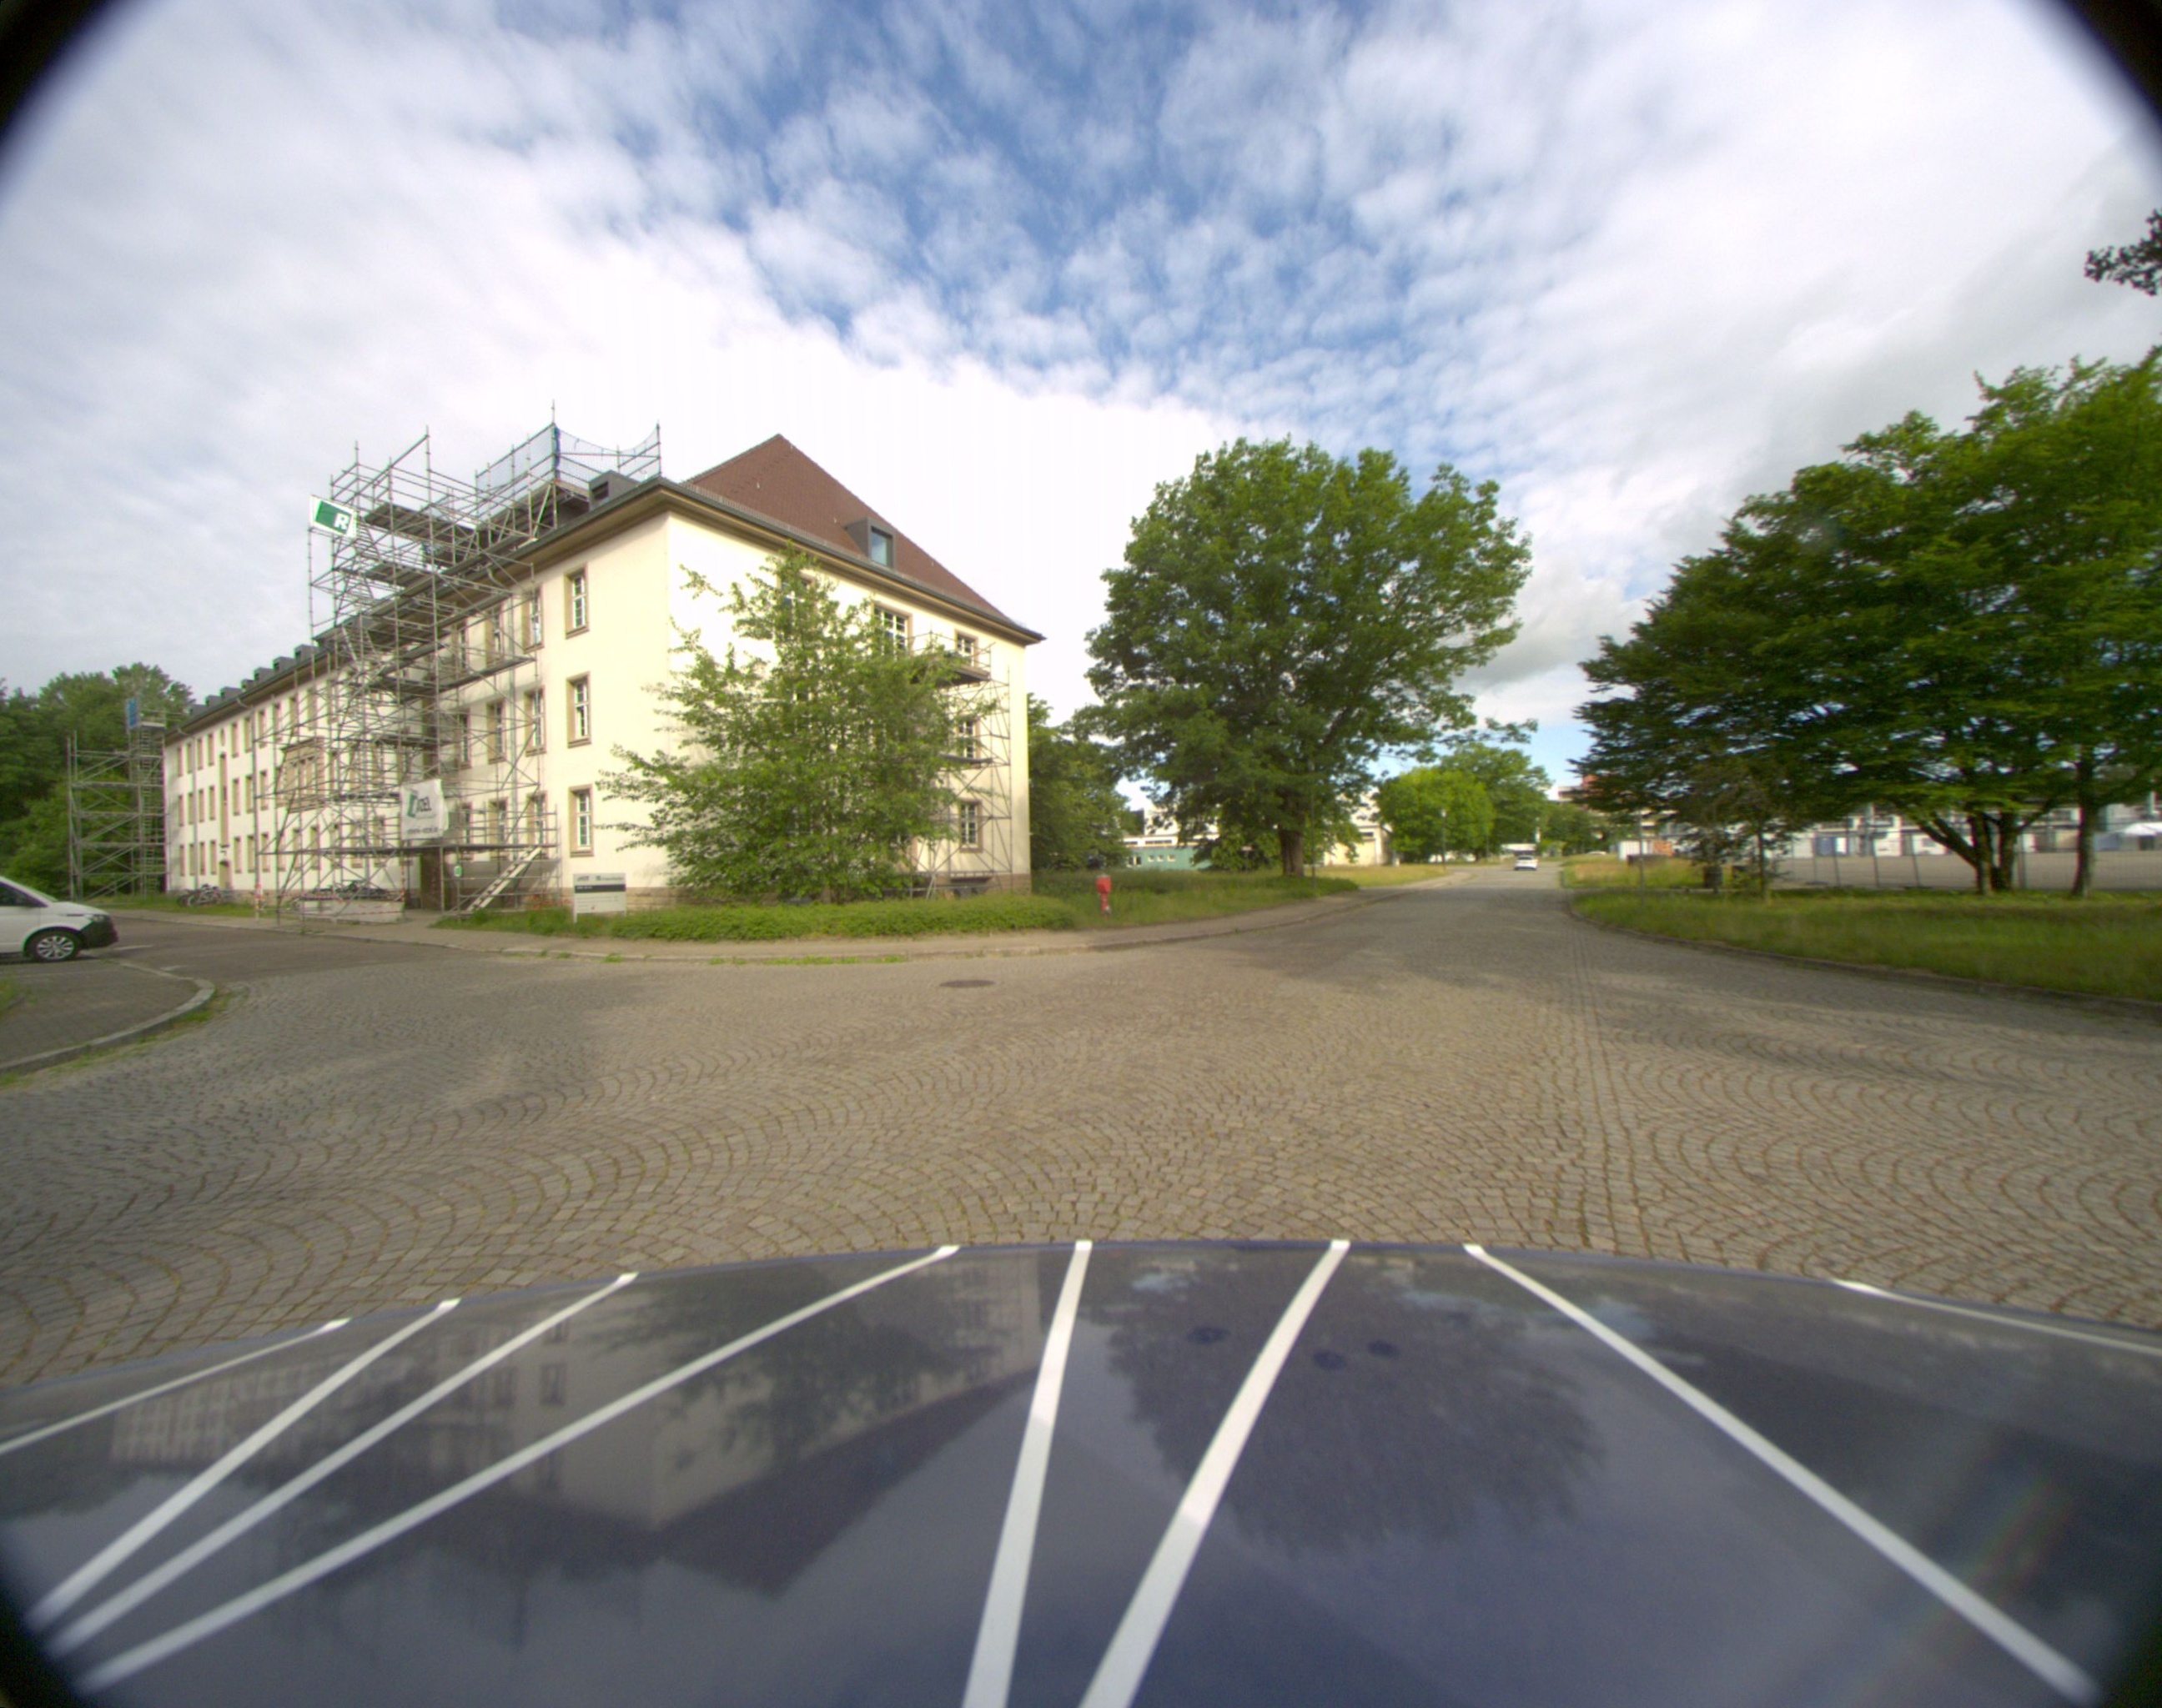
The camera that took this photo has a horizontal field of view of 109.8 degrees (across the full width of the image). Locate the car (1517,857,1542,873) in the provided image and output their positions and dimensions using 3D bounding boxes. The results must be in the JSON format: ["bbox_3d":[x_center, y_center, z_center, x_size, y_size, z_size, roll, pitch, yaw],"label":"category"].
[{"bbox_3d":[42.477,1.007,71.885,1.850,1.428,4.715,-2,-1,32],"label":"car"}]

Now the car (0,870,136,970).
[{"bbox_3d":[-23.524,1.366,15.402,2.182,2.047,5.229,-2,-2,32],"label":"car"}]
